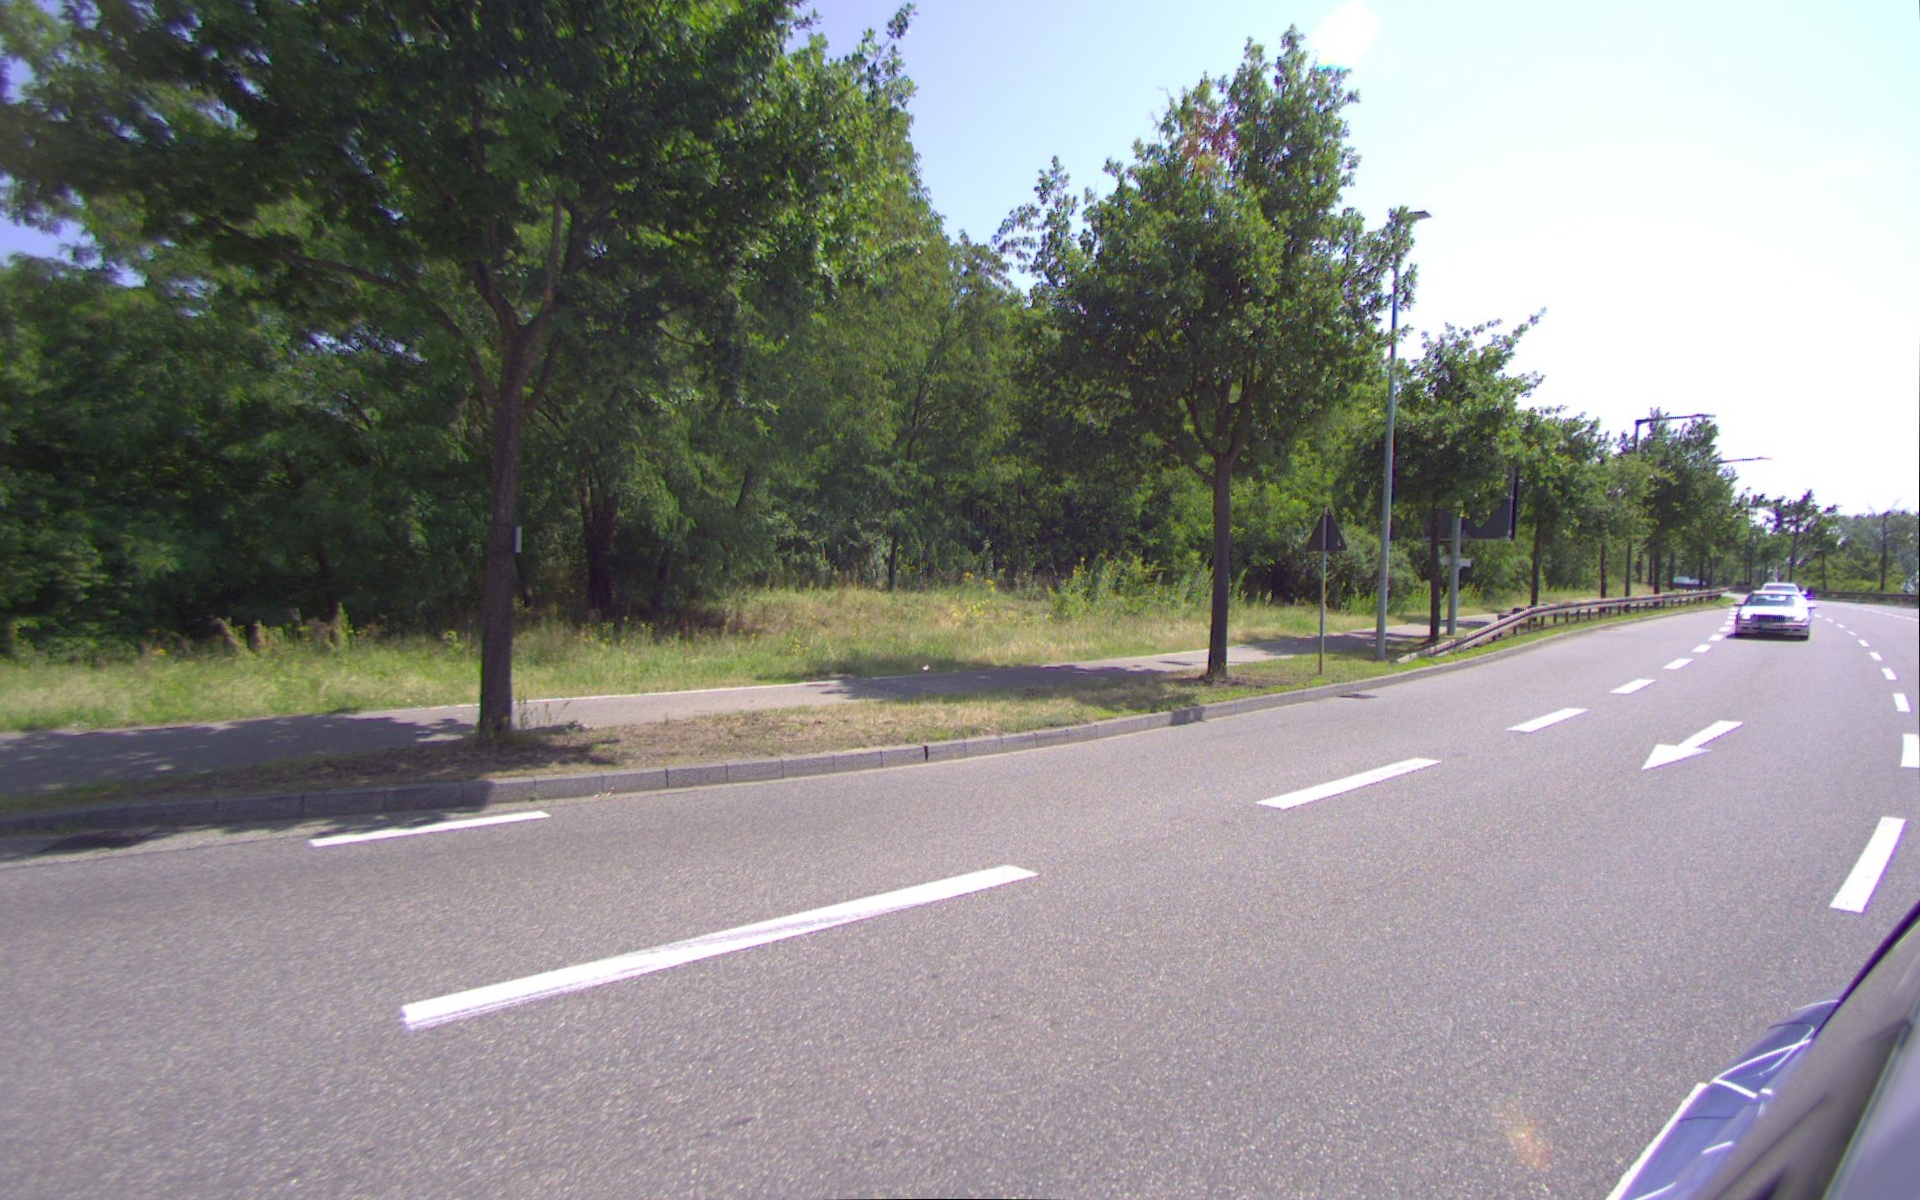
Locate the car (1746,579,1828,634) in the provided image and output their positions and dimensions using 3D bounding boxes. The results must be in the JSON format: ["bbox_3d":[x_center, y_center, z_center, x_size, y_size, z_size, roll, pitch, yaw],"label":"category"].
[{"bbox_3d":[25.040,0.164,30.586,1.757,1.518,4.170,2,1,41],"label":"car"}]

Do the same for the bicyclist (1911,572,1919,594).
[{"bbox_3d":[67.790,-1.170,71.370,0.725,1.482,0.817,6,4,26],"label":"bicyclist"}]

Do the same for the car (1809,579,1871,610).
[{"bbox_3d":[41.913,-0.239,48.275,1.990,1.387,4.174,2,1,38],"label":"car"}]

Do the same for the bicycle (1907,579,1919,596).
[{"bbox_3d":[67.780,-0.861,71.407,0.730,1.129,2.028,6,5,26],"label":"bicycle"}]
